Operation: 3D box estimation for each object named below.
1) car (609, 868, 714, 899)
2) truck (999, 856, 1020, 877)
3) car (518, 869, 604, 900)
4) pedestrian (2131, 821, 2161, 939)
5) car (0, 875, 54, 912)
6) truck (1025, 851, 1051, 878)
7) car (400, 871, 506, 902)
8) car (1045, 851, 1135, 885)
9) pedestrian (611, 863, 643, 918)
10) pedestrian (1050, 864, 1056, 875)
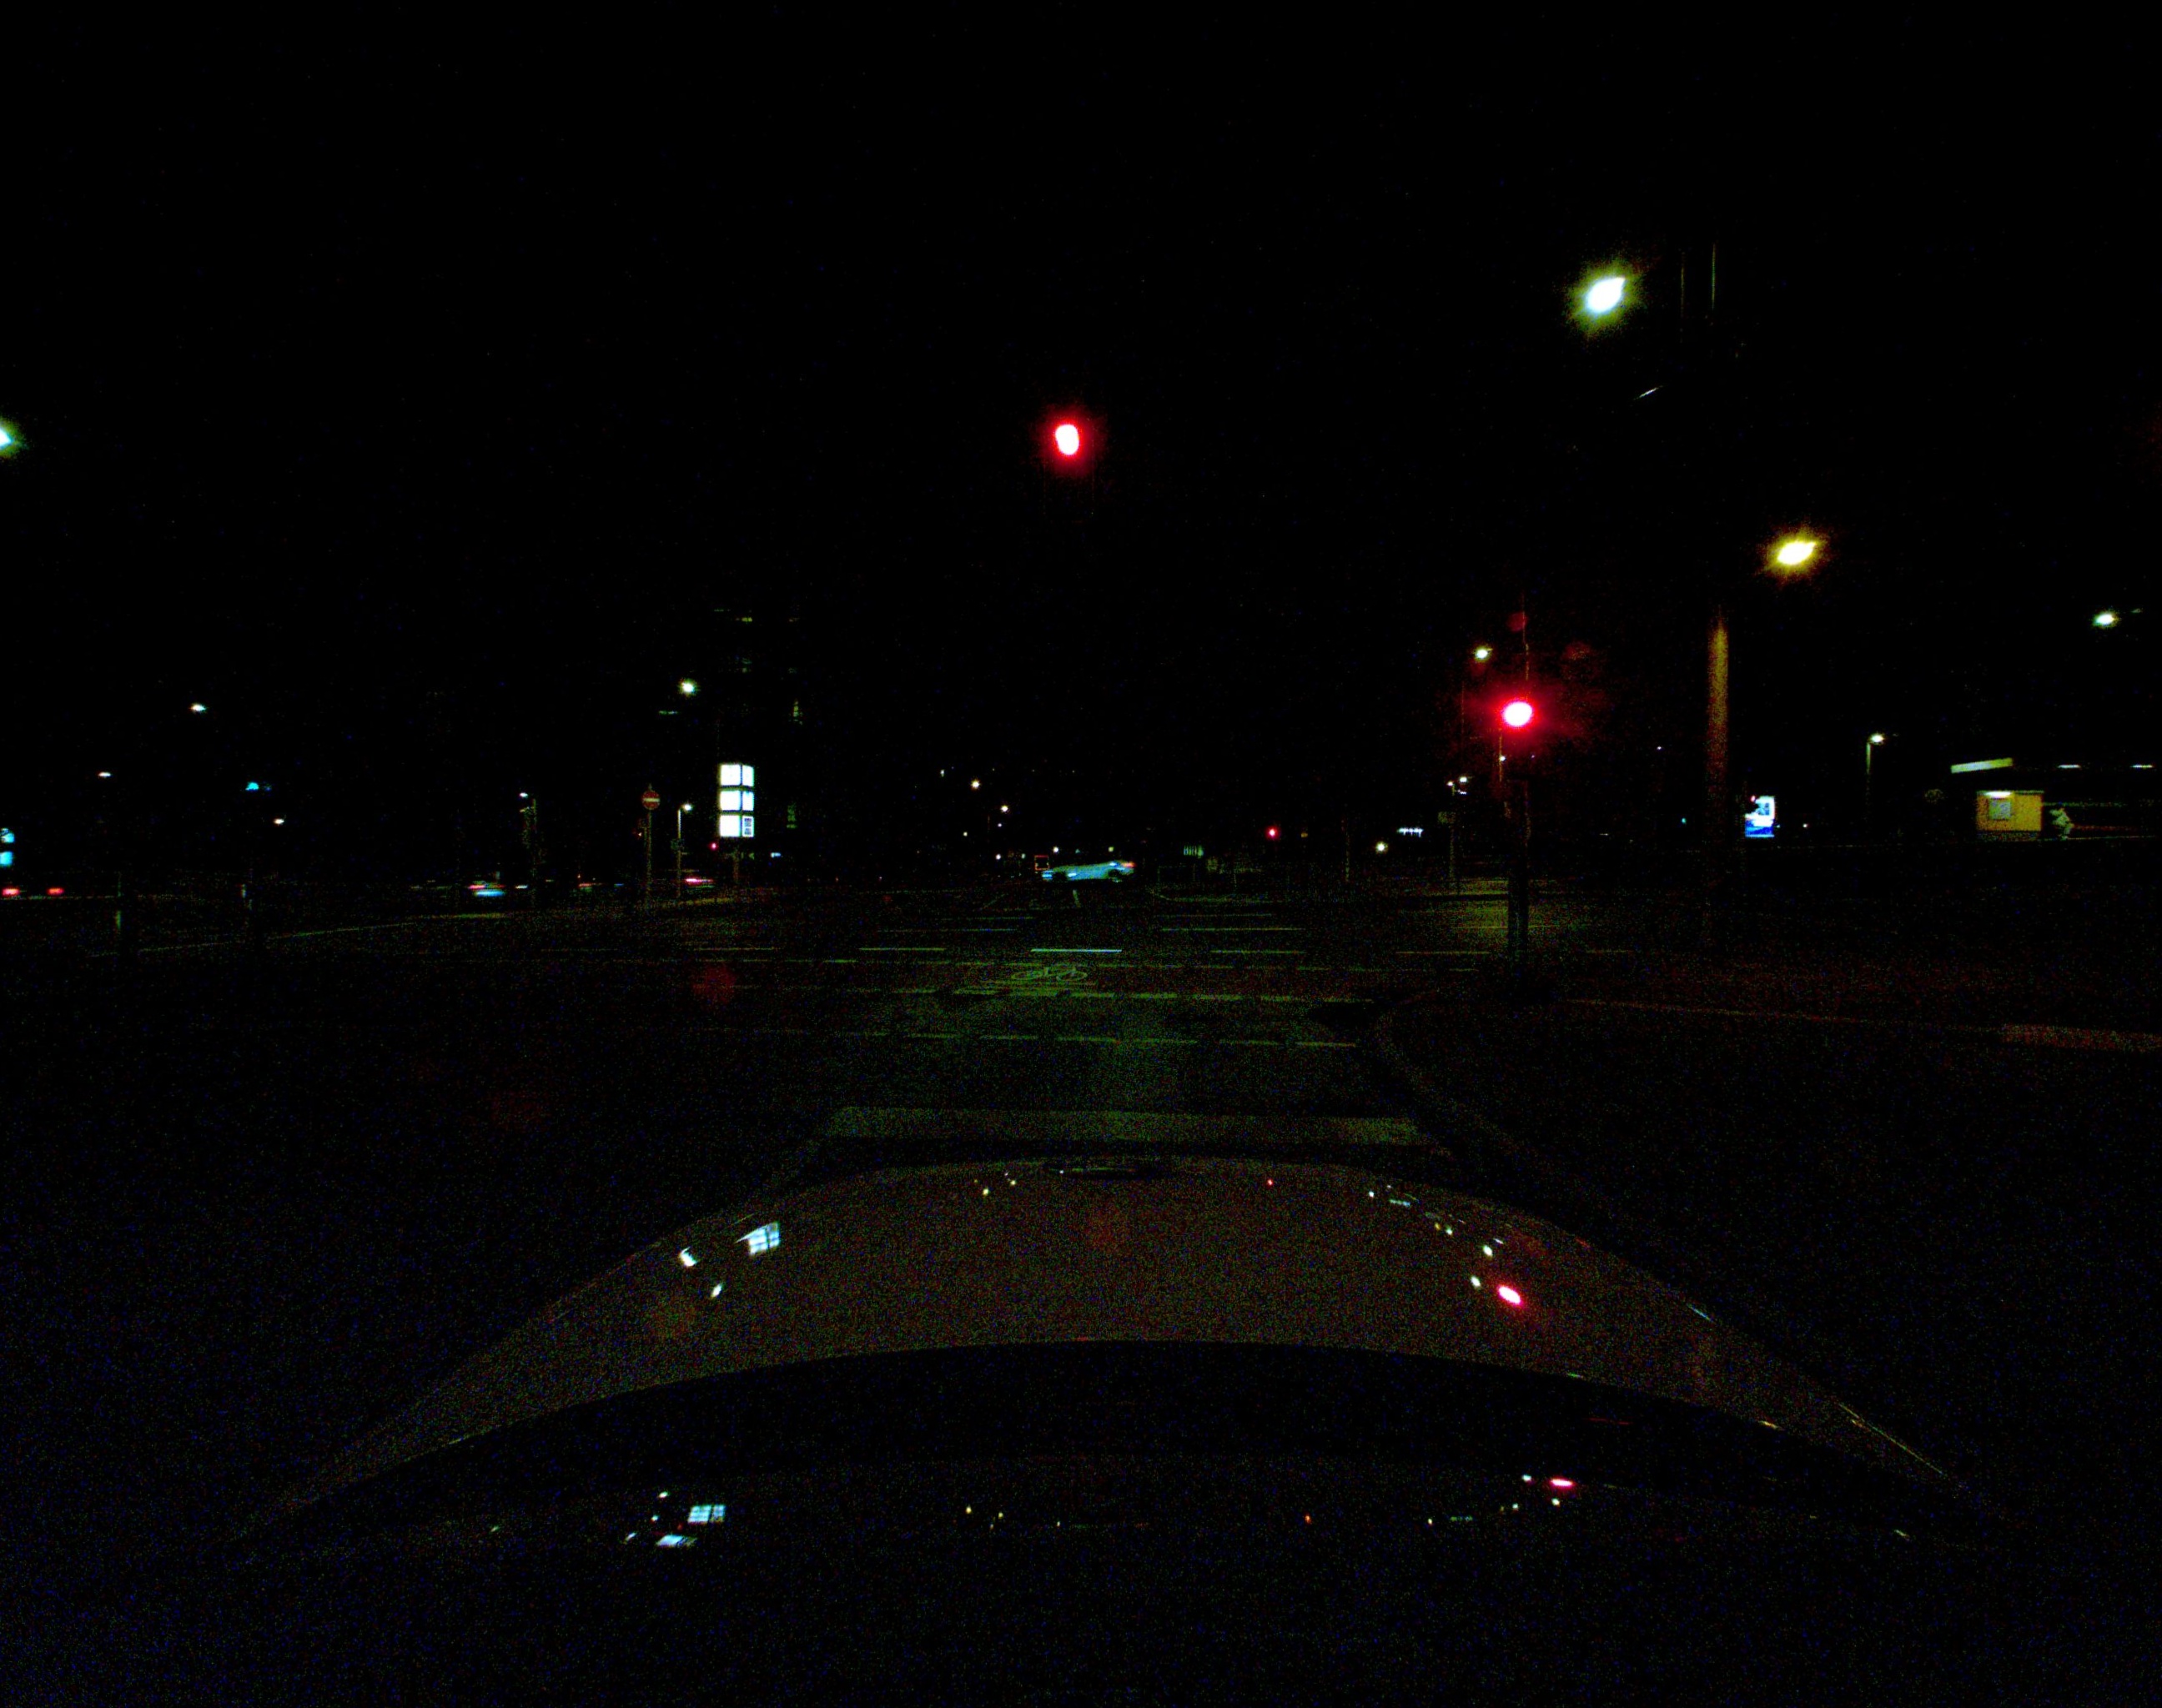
[{"bbox_3d":[-21.638,1.501,42.101,4.553,1.486,1.781,0,0,5],"label":"car"},{"bbox_3d":[-10.566,1.847,120.240,2.419,3.089,6.412,0,-1,-11],"label":"truck"},{"bbox_3d":[-29.516,1.718,46.298,3.798,1.631,1.816,-2,0,8],"label":"car"},{"bbox_3d":[15.663,0.330,11.414,0.870,1.656,0.843,-7,-5,42],"label":"pedestrian"},{"bbox_3d":[-57.185,2.040,42.584,4.920,1.884,1.871,0,-1,5],"label":"car"},{"bbox_3d":[-7.988,1.929,149.257,3.366,4.843,7.865,0,-1,-14],"label":"truck"},{"bbox_3d":[-30.872,1.573,40.090,3.817,1.486,1.871,0,-1,5],"label":"car"},{"bbox_3d":[0.494,0.700,40.679,4.377,1.644,1.944,0,-1,5],"label":"car"},{"bbox_3d":[-14.373,1.145,25.782,0.697,1.722,0.683,-1,-2,42],"label":"pedestrian"},{"bbox_3d":[-5.083,2.818,147.843,0.851,1.912,1.001,0,-1,-16],"label":"pedestrian"}]
